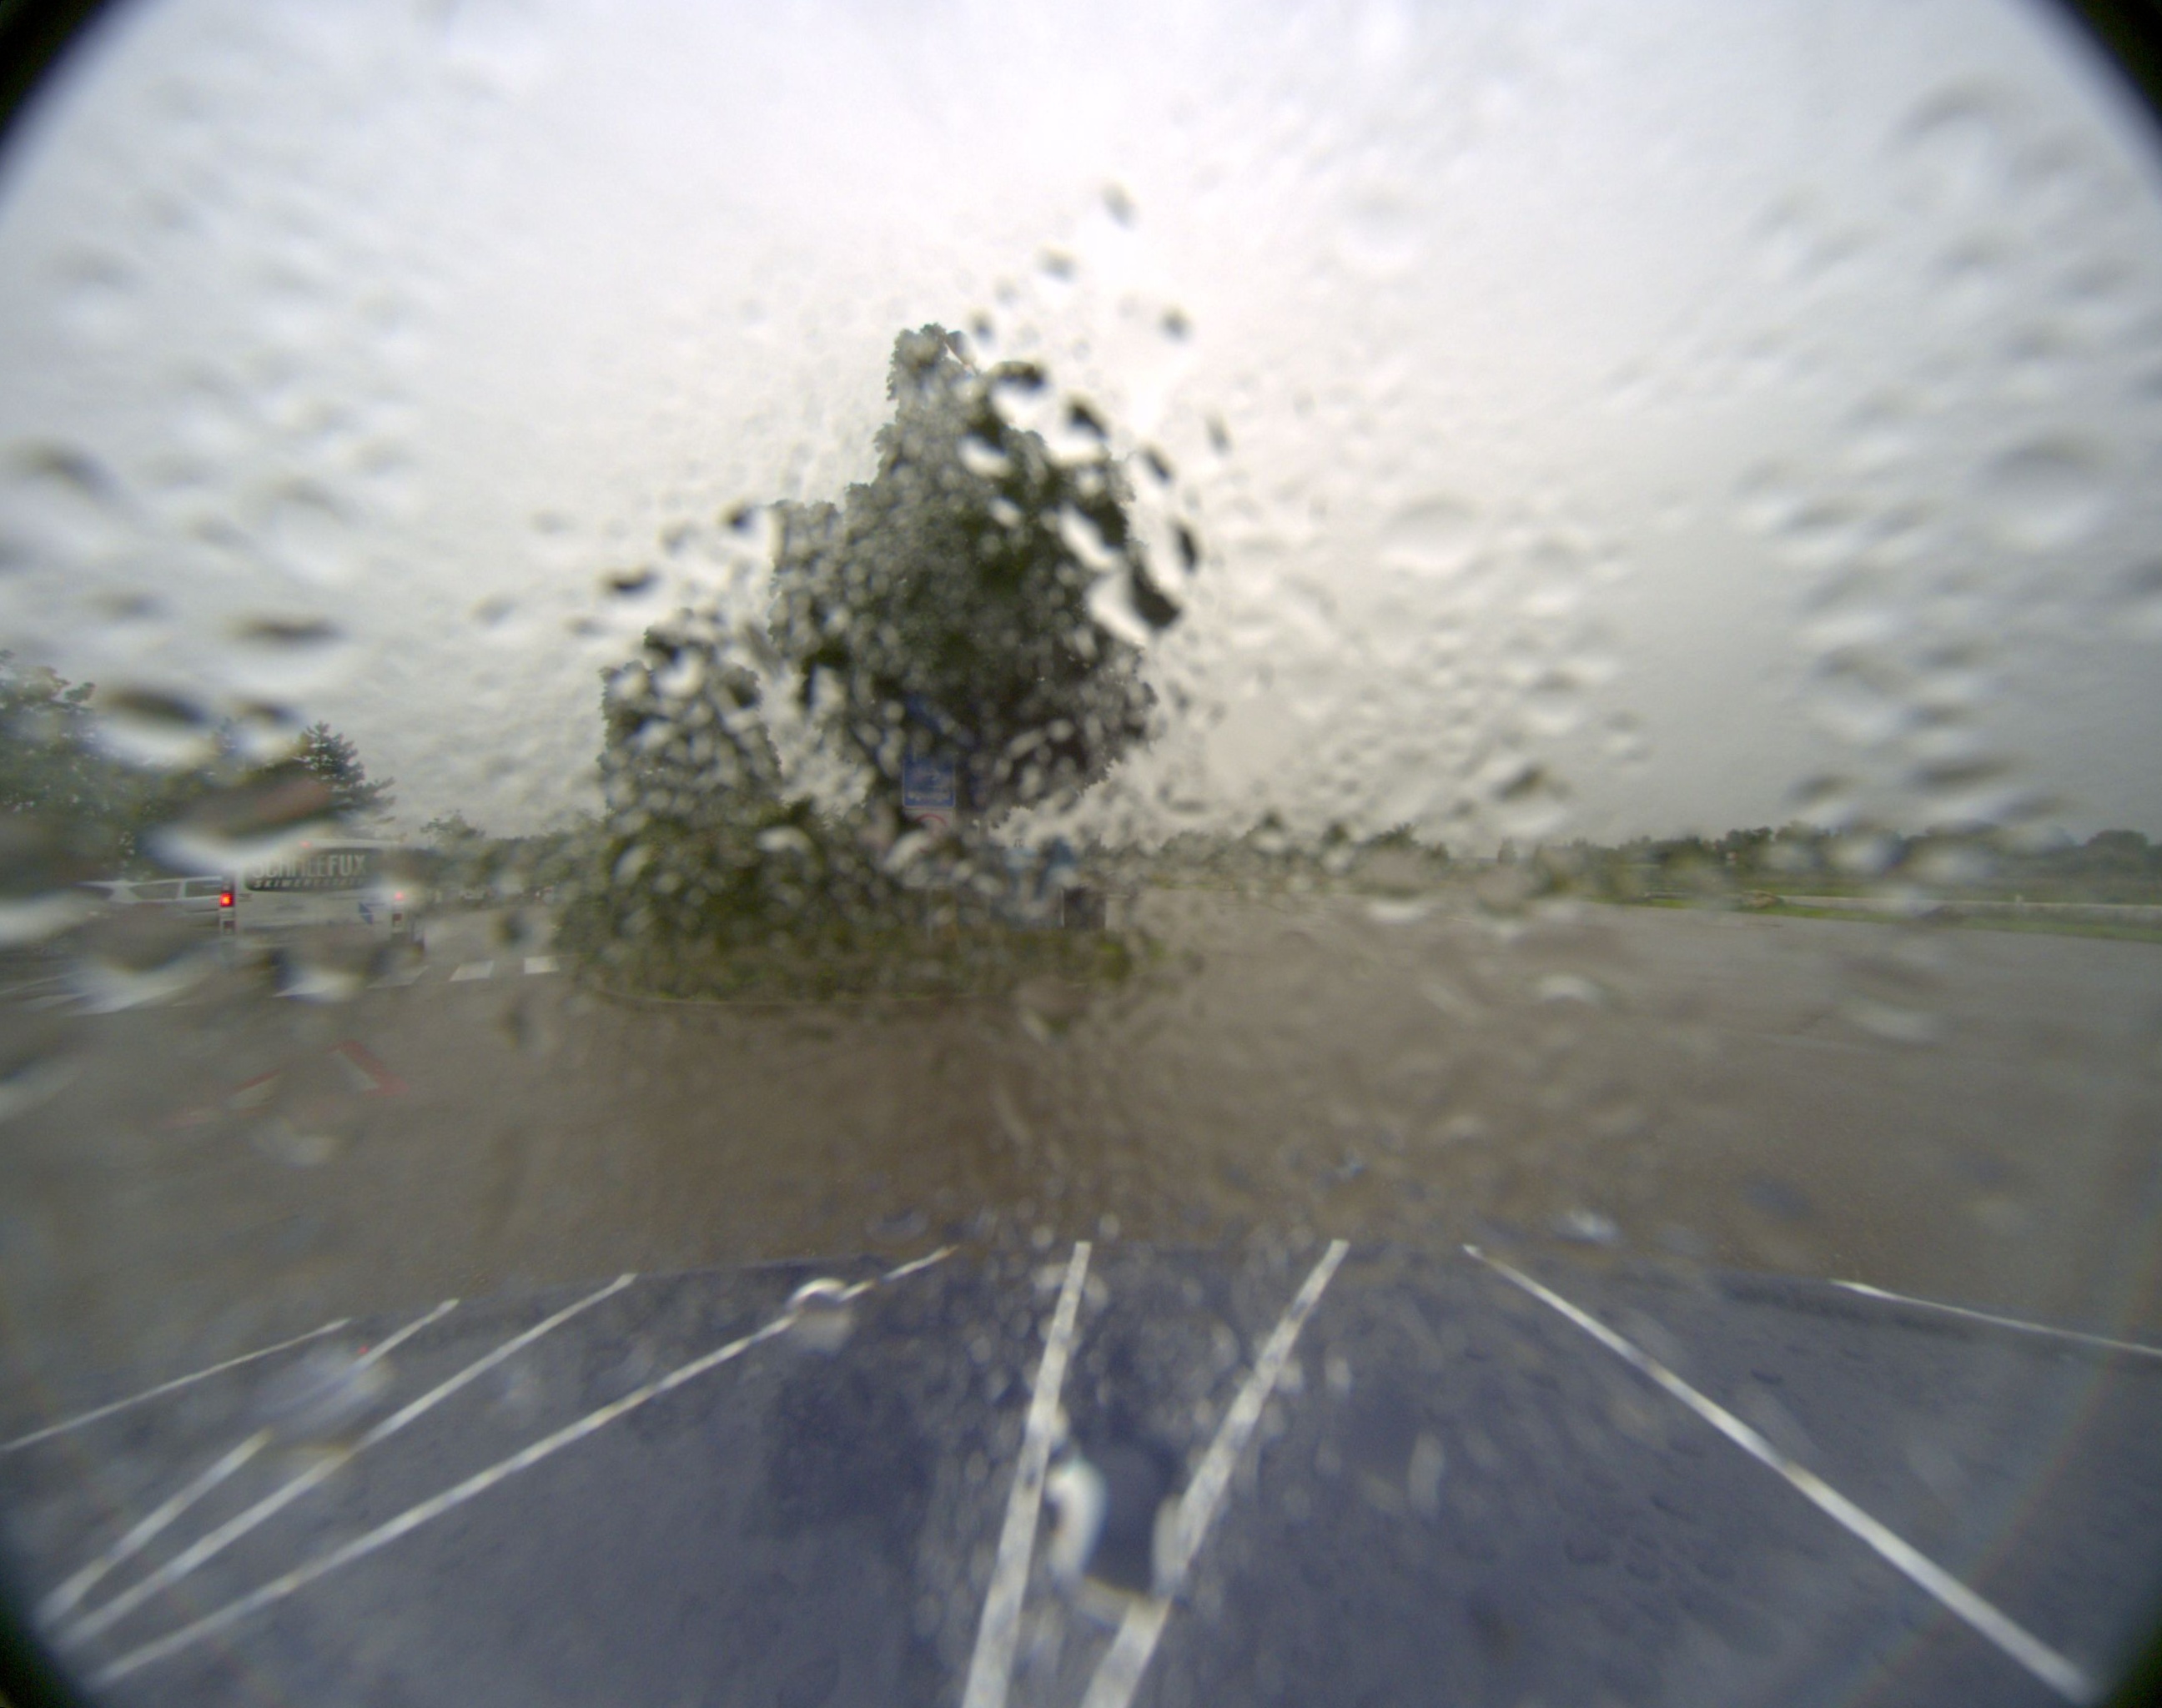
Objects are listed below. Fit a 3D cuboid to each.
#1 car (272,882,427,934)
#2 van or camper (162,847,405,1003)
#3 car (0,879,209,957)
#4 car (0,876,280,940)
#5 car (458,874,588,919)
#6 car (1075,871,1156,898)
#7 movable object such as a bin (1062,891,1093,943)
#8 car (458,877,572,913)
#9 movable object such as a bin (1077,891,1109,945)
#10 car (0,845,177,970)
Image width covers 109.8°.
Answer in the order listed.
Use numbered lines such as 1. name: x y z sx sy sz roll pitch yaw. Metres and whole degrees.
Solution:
1. car: -32.514 2.341 34.006 4.777 2.069 1.995 0 0 -36
2. van or camper: -12.287 0.913 12.109 2.199 1.934 5.183 -1 0 -42
3. car: -21.766 1.290 15.595 4.777 1.463 1.881 0 0 -36
4. car: -26.938 1.465 22.057 4.777 1.577 1.995 0 0 -36
5. car: -22.385 1.649 30.632 4.102 1.618 1.782 0 0 -36
6. car: 1.849 1.615 41.172 4.080 1.425 1.778 0 -1 -14
7. movable object such as a bin: -0.072 1.148 13.960 0.450 0.911 0.488 0 -1 -15
8. car: -25.812 1.830 34.782 4.102 1.488 1.761 0 0 -36
9. movable object such as a bin: 0.216 1.128 13.485 0.450 0.933 0.488 0 -1 -15
10. car: -20.093 0.925 13.539 4.777 2.175 1.995 0 0 -36
